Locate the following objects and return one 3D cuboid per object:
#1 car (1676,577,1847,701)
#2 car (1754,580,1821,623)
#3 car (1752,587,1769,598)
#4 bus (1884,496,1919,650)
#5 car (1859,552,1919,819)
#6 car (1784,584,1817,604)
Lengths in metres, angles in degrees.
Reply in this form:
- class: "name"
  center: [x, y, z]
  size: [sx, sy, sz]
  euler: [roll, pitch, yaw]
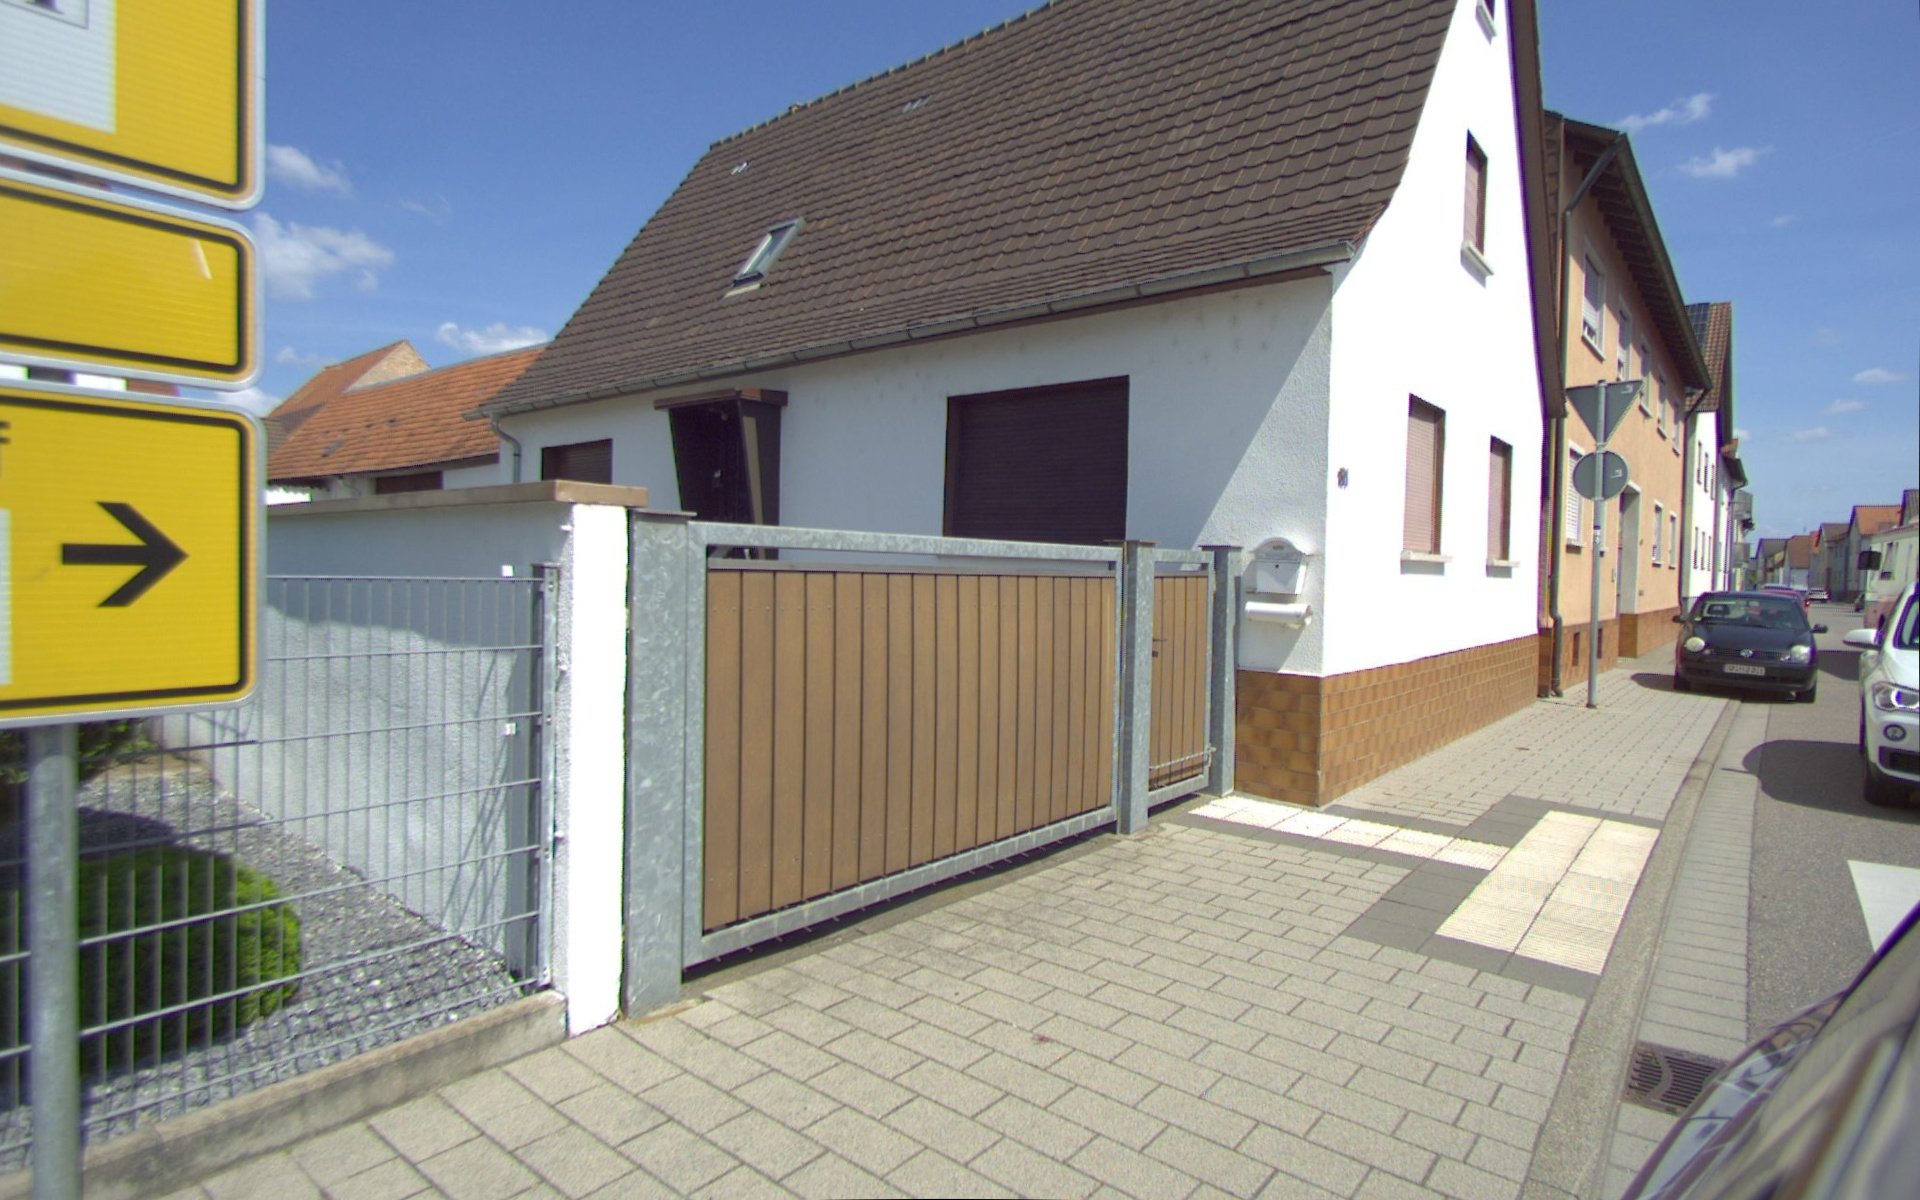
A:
- class: "car"
  center: [11.667, 0.464, 14.767]
  size: [1.684, 1.481, 3.578]
  euler: [5, 4, 39]
- class: "car"
  center: [30.044, 0.027, 36.778]
  size: [1.758, 1.446, 4.130]
  euler: [3, 2, 39]
- class: "car"
  center: [111.589, -1.018, 141.105]
  size: [1.756, 1.446, 3.802]
  euler: [3, 2, 36]
- class: "bus"
  center: [20.181, -0.485, 18.963]
  size: [2.620, 3.271, 11.870]
  euler: [4, 3, 35]
- class: "car"
  center: [7.966, 0.519, 7.474]
  size: [1.838, 1.666, 4.311]
  euler: [0, 0, 40]
- class: "car"
  center: [67.497, -0.497, 81.328]
  size: [1.756, 1.446, 4.134]
  euler: [3, 2, 36]
